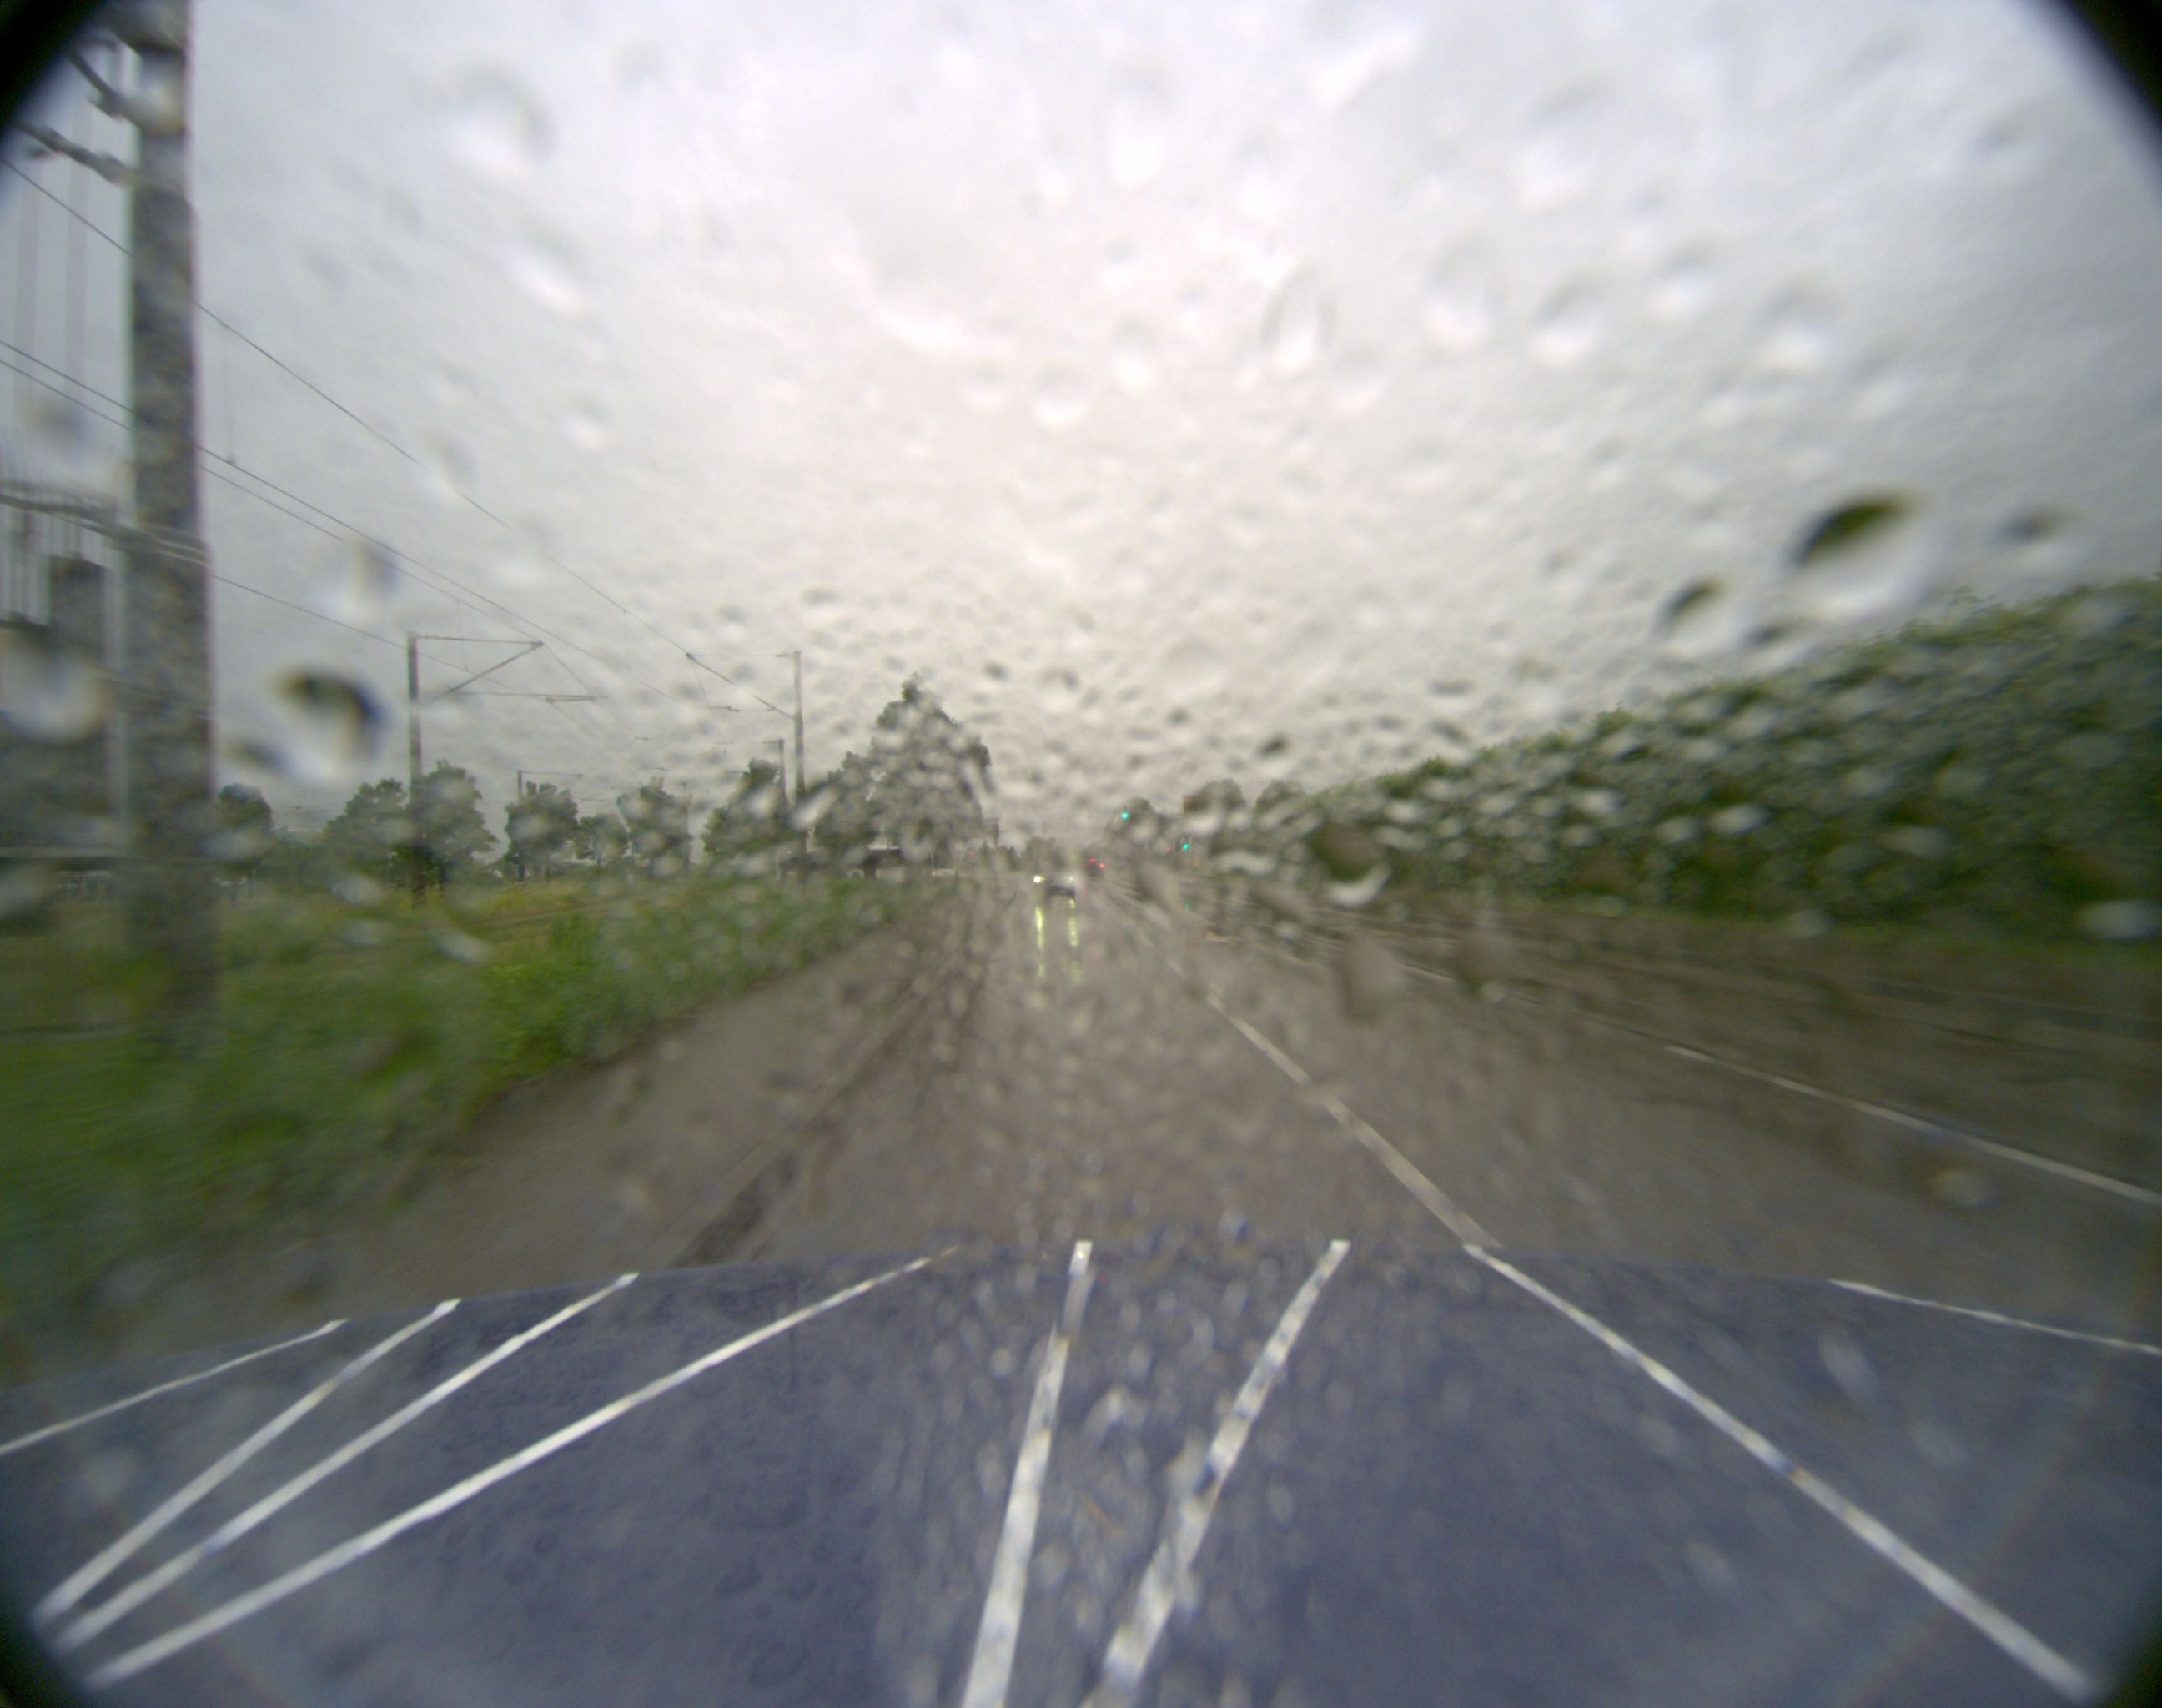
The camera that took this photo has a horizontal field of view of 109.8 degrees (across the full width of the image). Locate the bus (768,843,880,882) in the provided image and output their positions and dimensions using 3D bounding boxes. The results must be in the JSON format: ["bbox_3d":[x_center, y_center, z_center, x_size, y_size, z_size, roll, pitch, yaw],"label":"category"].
[{"bbox_3d":[-22.365,0.724,65.860,9.970,3.059,2.683,-2,1,24],"label":"bus"}]

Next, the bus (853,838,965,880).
[{"bbox_3d":[-13.919,0.463,60.983,9.967,3.059,2.683,-2,1,35],"label":"bus"}]

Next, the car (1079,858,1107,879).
[{"bbox_3d":[0.865,1.058,57.401,1.767,1.528,3.875,-1,0,-4],"label":"car"}]

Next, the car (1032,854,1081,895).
[{"bbox_3d":[-1.094,0.854,33.923,1.999,1.622,3.999,-2,0,-2],"label":"car"}]
